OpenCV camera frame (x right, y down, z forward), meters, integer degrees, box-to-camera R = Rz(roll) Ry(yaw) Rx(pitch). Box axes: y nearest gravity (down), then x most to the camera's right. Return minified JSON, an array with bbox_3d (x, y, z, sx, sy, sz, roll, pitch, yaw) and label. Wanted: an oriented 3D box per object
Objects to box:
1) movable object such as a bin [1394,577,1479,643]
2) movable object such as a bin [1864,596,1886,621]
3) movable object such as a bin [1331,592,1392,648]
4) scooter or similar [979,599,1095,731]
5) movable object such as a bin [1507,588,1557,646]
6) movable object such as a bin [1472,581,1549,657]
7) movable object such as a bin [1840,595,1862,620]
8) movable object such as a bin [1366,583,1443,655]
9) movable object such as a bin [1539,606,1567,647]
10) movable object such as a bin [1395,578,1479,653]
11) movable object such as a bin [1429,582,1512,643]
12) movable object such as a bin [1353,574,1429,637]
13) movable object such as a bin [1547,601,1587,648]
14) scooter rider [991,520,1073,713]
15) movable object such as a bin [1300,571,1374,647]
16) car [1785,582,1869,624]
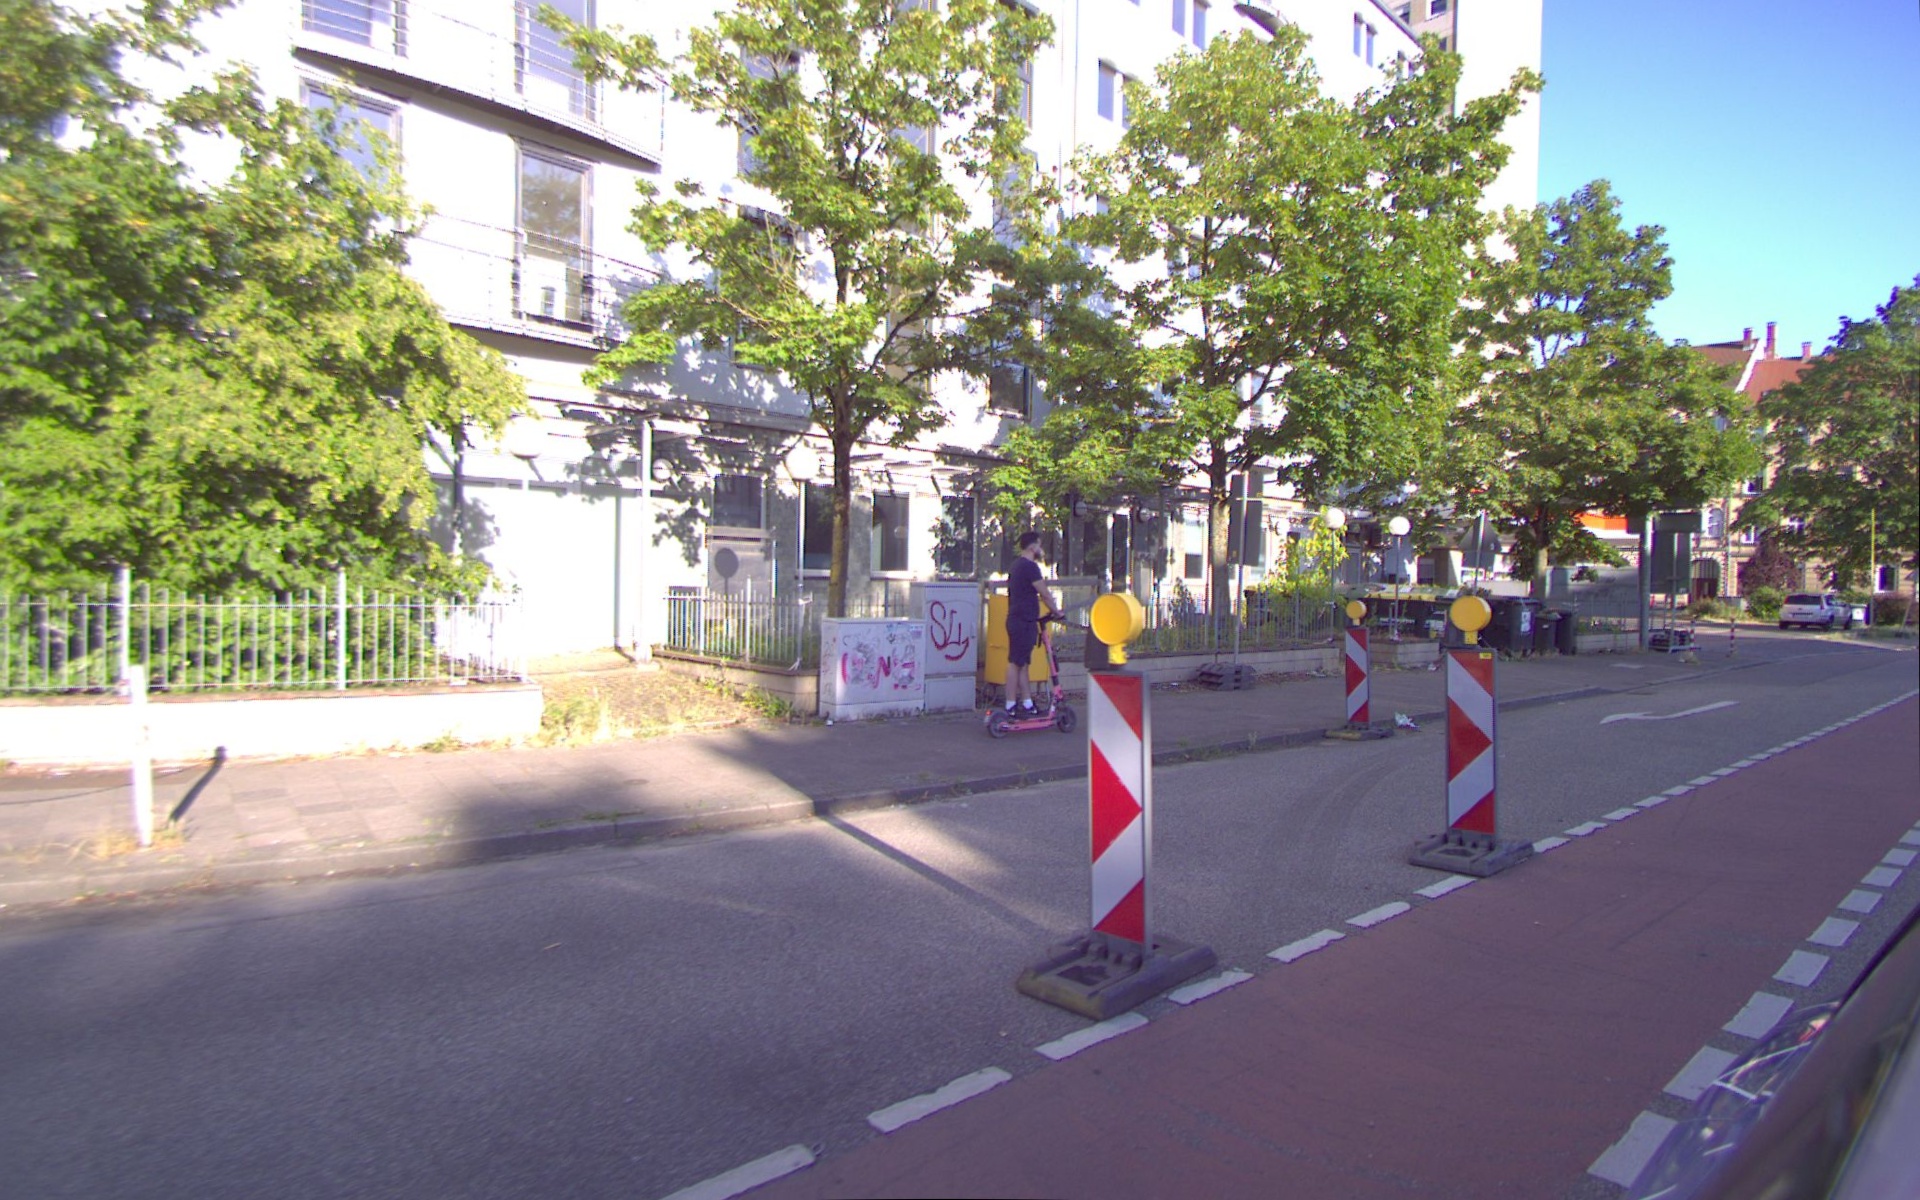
[{"bbox_3d":[11.222,0.227,23.859,1.255,1.451,1.313,2,2,-35],"label":"movable object such as a bin"},{"bbox_3d":[39.369,0.351,43.555,0.661,1.042,0.573,0,1,-37],"label":"movable object such as a bin"},{"bbox_3d":[8.650,0.415,21.813,0.639,1.143,1.025,0,1,-39],"label":"movable object such as a bin"},{"bbox_3d":[0.766,0.604,9.879,1.228,1.209,0.331,0,1,-40],"label":"scooter or similar"},{"bbox_3d":[13.632,0.388,24.129,0.850,1.325,0.779,0,1,-41],"label":"movable object such as a bin"},{"bbox_3d":[11.902,0.378,21.886,1.232,1.526,1.095,-3,3,-40],"label":"movable object such as a bin"},{"bbox_3d":[38.805,0.316,44.093,0.661,1.042,0.573,0,1,-37],"label":"movable object such as a bin"},{"bbox_3d":[8.890,0.359,20.224,1.210,1.361,1.042,2,1,35],"label":"movable object such as a bin"},{"bbox_3d":[13.686,0.613,23.354,0.481,0.918,0.394,0,1,-38],"label":"movable object such as a bin"},{"bbox_3d":[10.179,0.308,21.594,1.325,1.503,1.193,2,1,40],"label":"movable object such as a bin"},{"bbox_3d":[12.617,0.277,25.025,0.850,1.427,1.611,0,1,-41],"label":"movable object such as a bin"},{"bbox_3d":[10.568,0.133,24.811,1.255,1.438,1.199,2,2,-38],"label":"movable object such as a bin"},{"bbox_3d":[14.192,0.558,23.666,0.605,1.059,0.621,0,1,-38],"label":"movable object such as a bin"},{"bbox_3d":[0.694,0.145,9.852,0.478,1.812,0.616,0,1,-39],"label":"scooter rider"},{"bbox_3d":[7.824,0.170,20.999,0.940,1.503,1.105,0,1,-41],"label":"movable object such as a bin"},{"bbox_3d":[35.408,0.108,41.312,3.819,1.613,1.625,0,2,-34],"label":"car"}]
